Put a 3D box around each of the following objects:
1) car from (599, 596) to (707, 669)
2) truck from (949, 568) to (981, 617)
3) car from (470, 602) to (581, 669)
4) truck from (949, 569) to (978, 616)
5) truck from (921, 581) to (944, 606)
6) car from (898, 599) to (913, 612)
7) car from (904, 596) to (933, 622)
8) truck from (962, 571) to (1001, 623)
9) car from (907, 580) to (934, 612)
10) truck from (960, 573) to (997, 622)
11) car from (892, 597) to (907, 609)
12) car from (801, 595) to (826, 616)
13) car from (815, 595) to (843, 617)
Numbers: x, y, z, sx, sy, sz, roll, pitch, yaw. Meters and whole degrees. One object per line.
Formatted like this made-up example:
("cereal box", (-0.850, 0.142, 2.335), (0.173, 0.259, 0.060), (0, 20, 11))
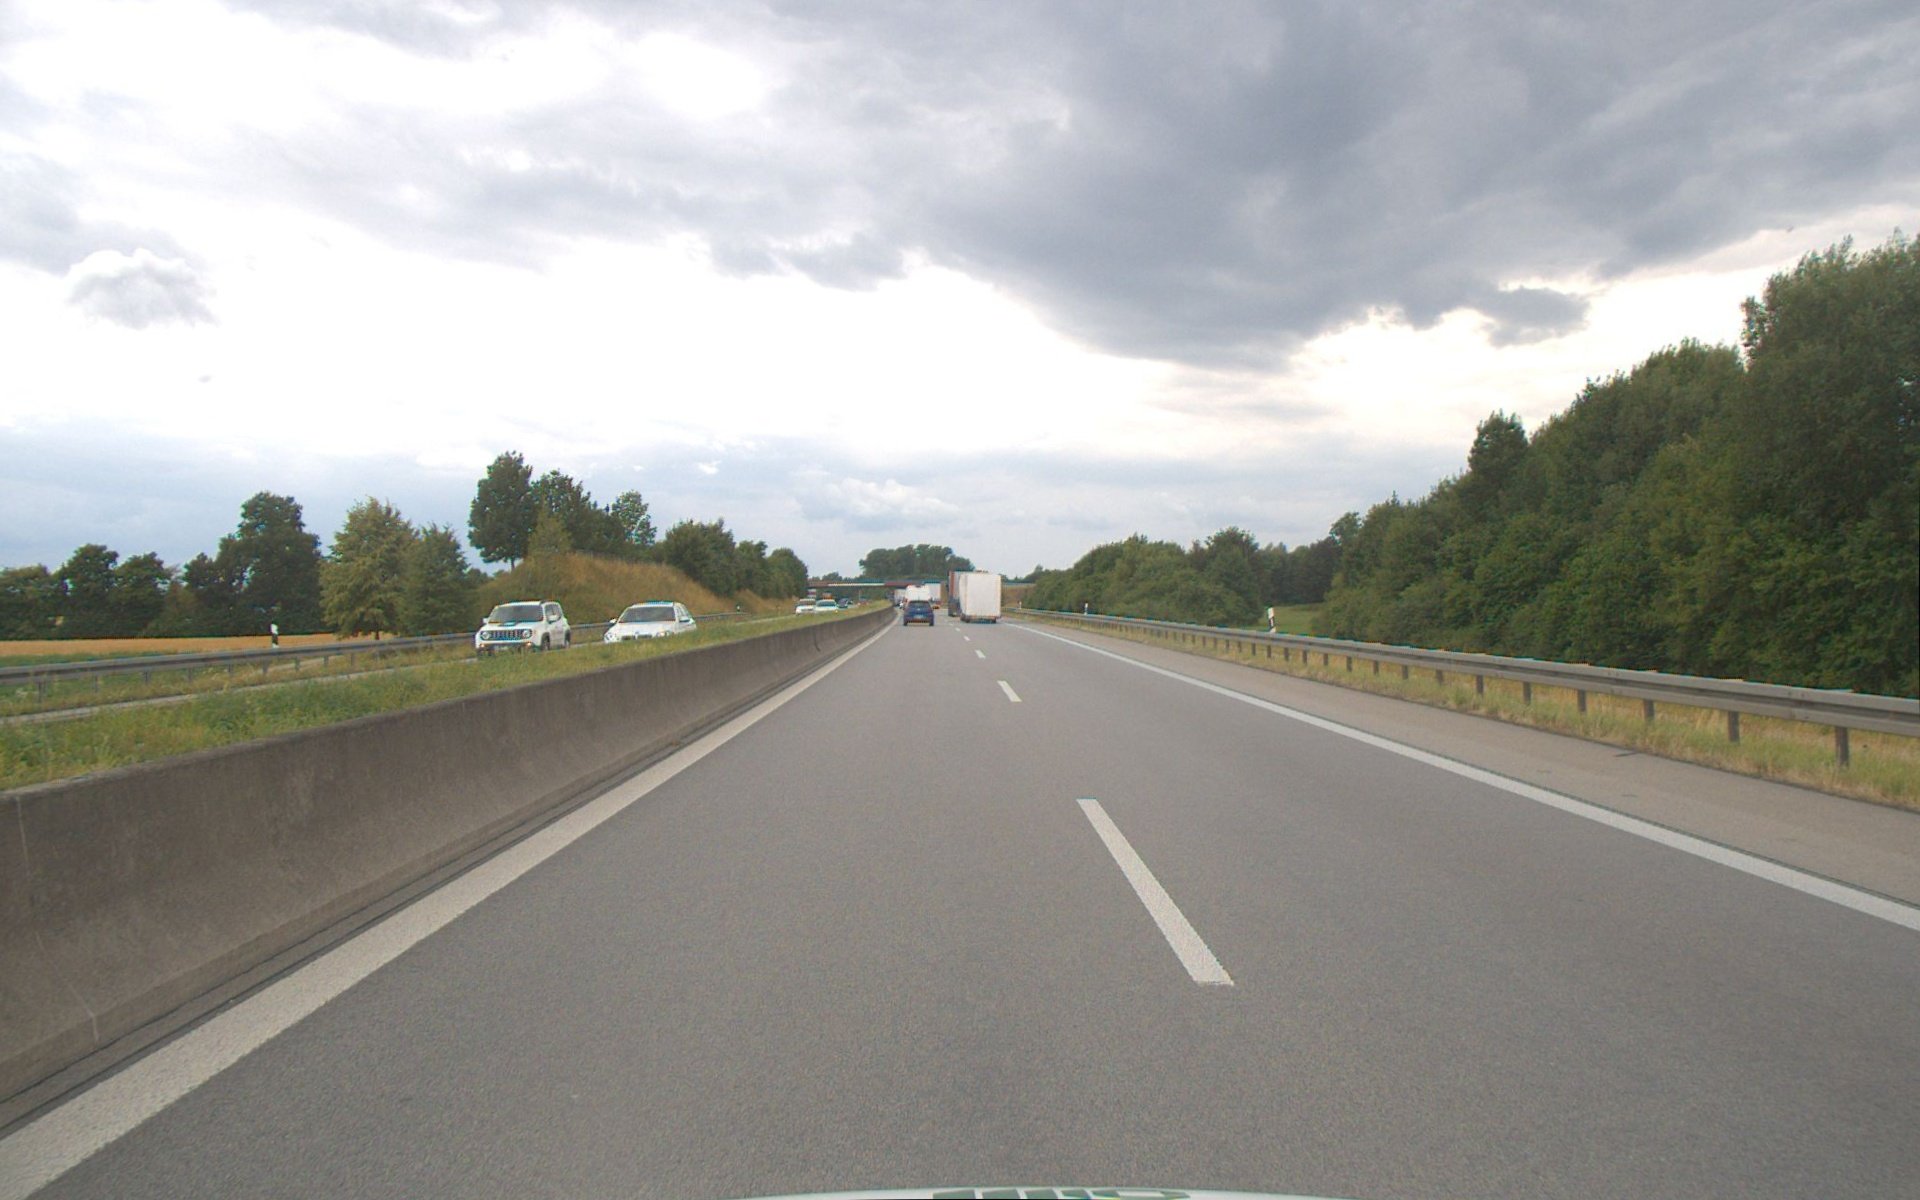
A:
("car", (-7.927, 0.809, 43.156), (1.908, 1.724, 5.173), (-2, 0, -1))
("truck", (0.354, -0.642, 145.270), (2.619, 4.116, 11.106), (-1, 0, -1))
("car", (-11.700, 0.921, 44.855), (1.799, 1.655, 4.690), (-2, 0, -1))
("truck", (0.291, -0.675, 150.645), (2.619, 4.116, 5.511), (-1, 0, -1))
("truck", (-4.337, -0.934, 257.089), (3.049, 3.754, 9.316), (-2, 0, -3))
("car", (-7.002, 0.709, 214.277), (1.896, 1.672, 4.901), (0, 0, -2))
("car", (-2.327, 0.476, 92.320), (1.630, 1.432, 3.647), (0, 0, -2))
("truck", (1.353, -0.177, 108.093), (2.366, 3.278, 7.142), (0, 0, -1))
("car", (-3.154, -0.306, 131.917), (2.087, 2.526, 5.837), (0, 0, -2))
("truck", (1.236, -0.167, 115.275), (2.380, 3.300, 7.245), (0, 0, -1))
("car", (-8.986, 0.426, 244.684), (1.954, 1.713, 3.996), (0, 0, -5))
("car", (-12.133, 0.444, 137.502), (1.828, 1.602, 4.691), (-2, 0, -2))
("car", (-9.823, 0.419, 124.321), (1.828, 1.602, 4.988), (-2, 0, -2))
